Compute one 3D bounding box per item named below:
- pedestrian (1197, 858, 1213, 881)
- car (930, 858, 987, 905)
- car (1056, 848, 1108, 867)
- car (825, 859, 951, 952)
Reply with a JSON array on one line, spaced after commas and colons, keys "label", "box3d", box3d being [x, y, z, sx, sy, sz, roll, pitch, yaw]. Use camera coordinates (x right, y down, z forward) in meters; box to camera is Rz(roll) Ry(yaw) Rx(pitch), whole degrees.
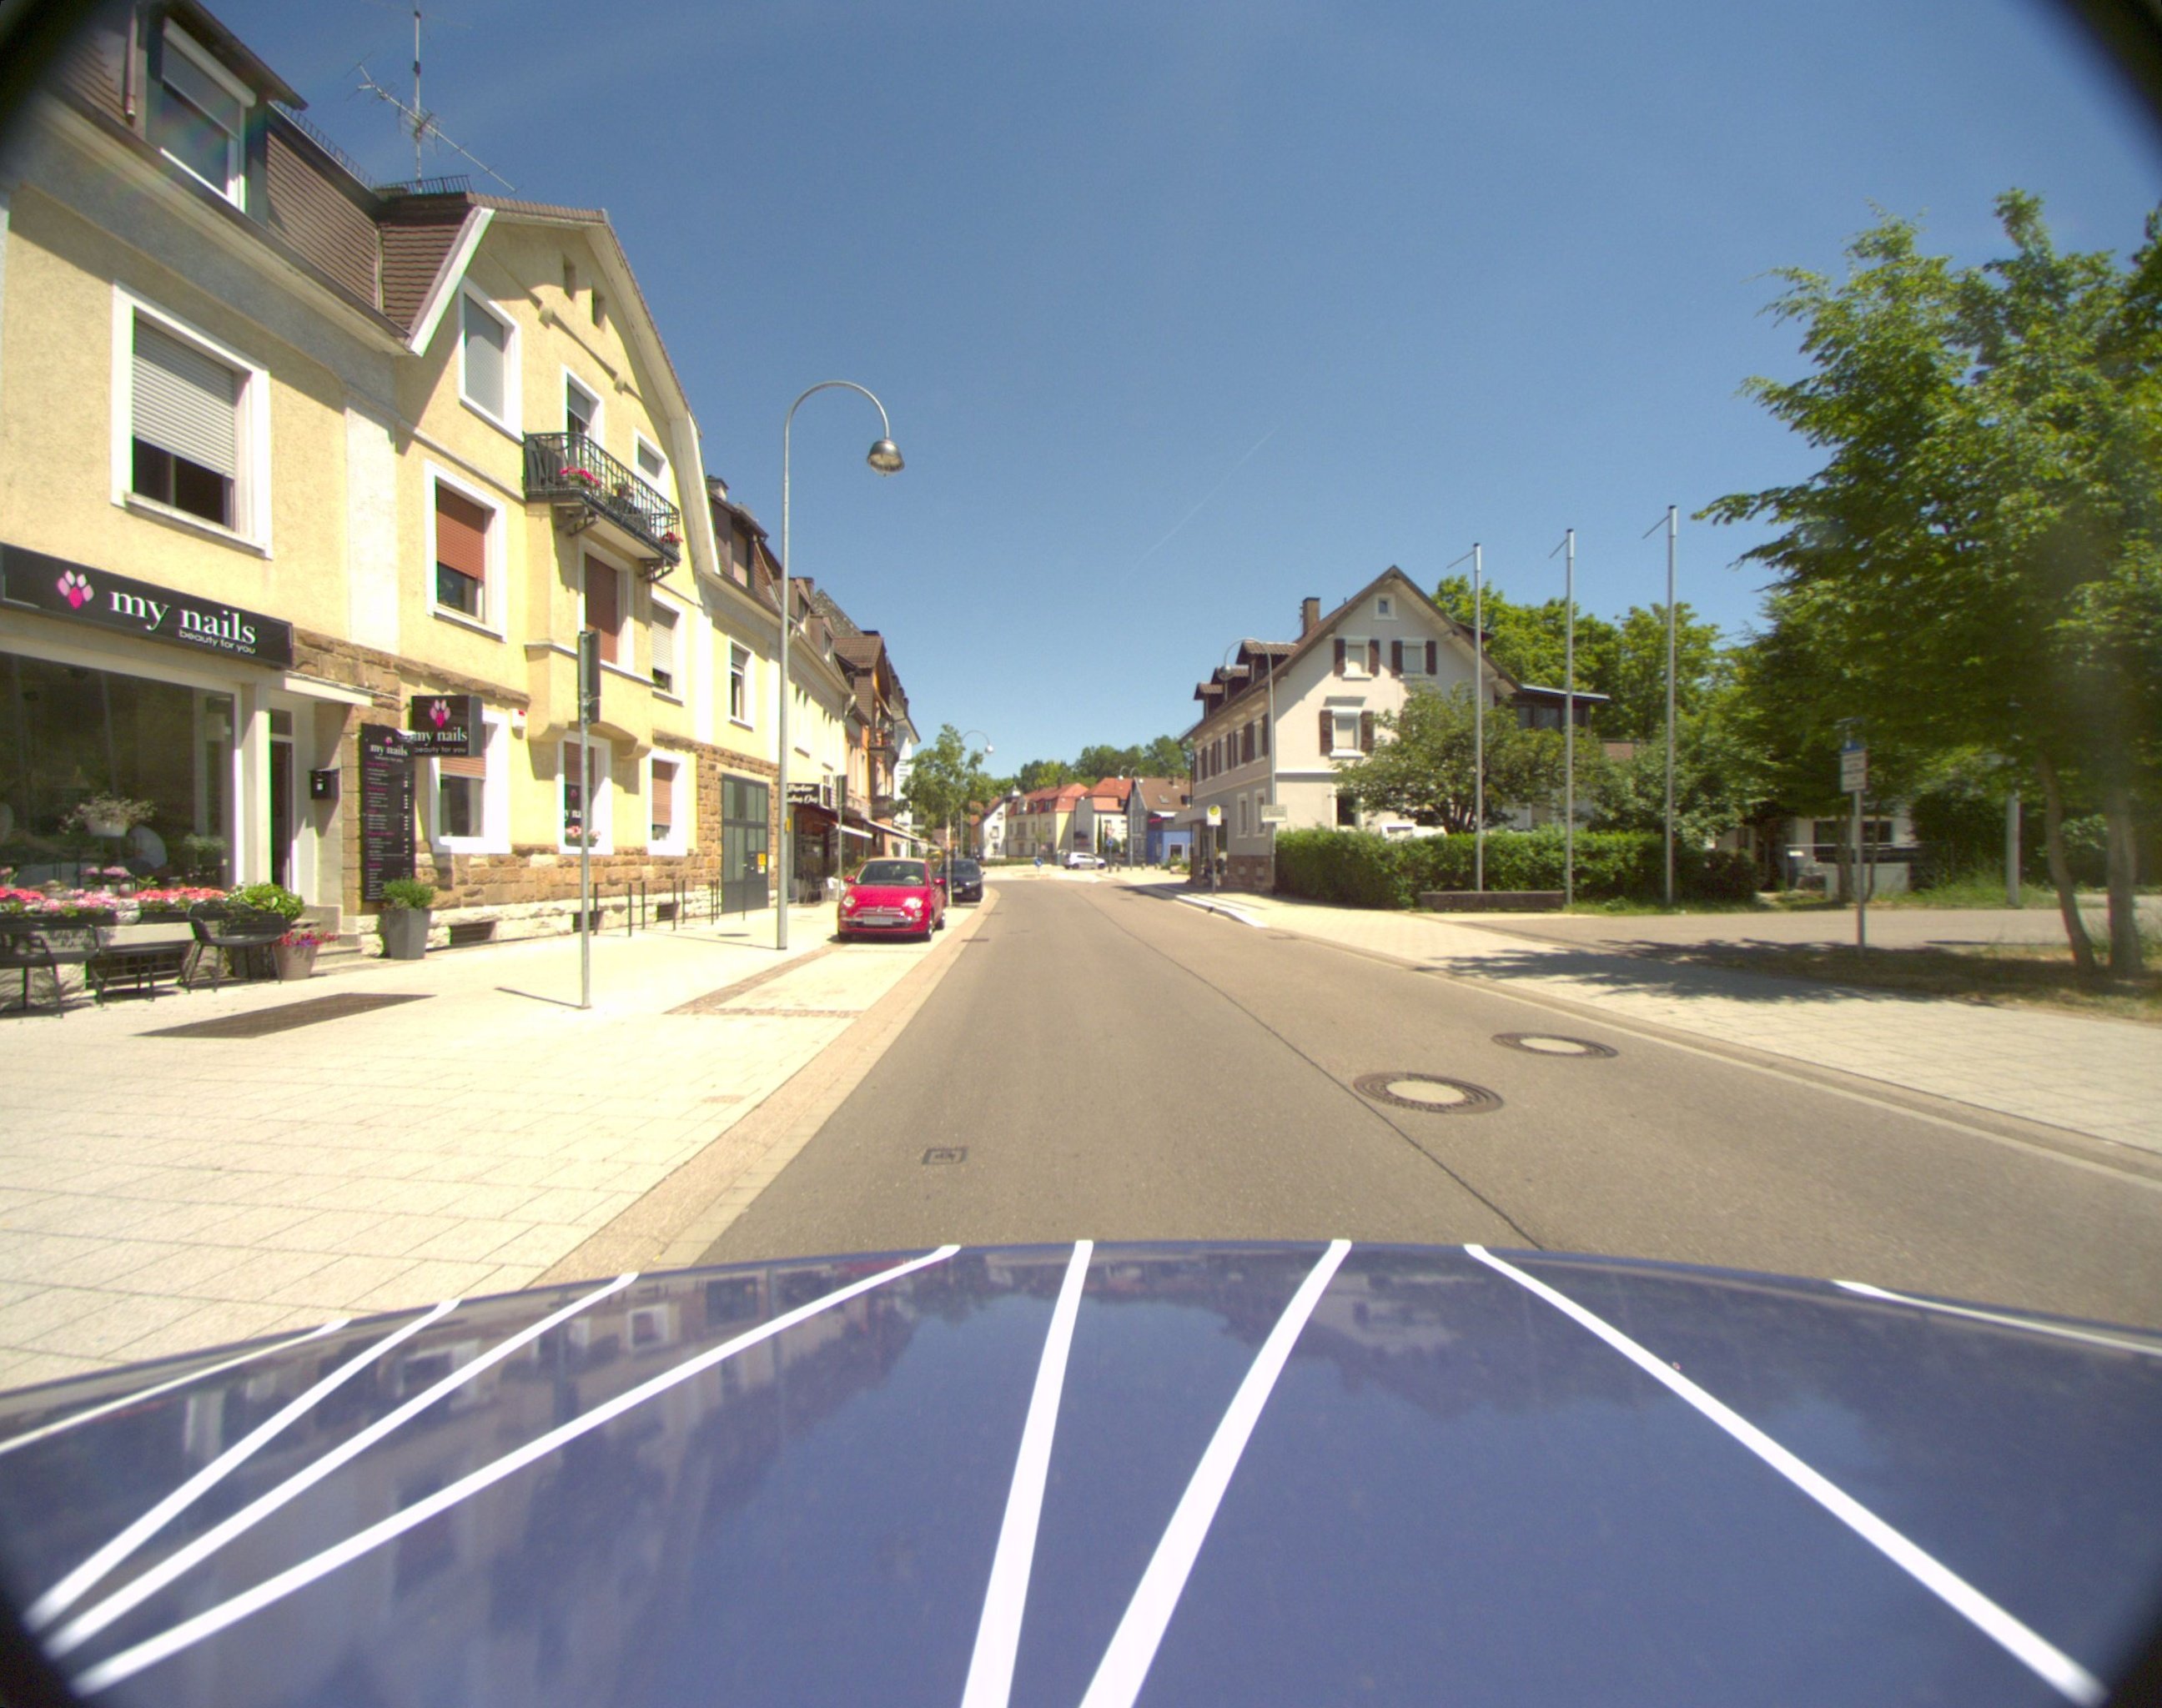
[{"label": "pedestrian", "box3d": [5.845, 0.725, 35.814, 0.598, 1.053, 0.567, -1, 1, -7]}, {"label": "car", "box3d": [-4.346, 0.936, 27.463, 1.735, 1.464, 4.321, 2, 0, -6]}, {"label": "car", "box3d": [0.056, 0.322, 68.006, 4.194, 1.586, 1.997, -1, 0, -19]}, {"label": "car", "box3d": [-3.508, 0.876, 14.395, 1.684, 1.505, 3.385, 2, 0, -4]}]
